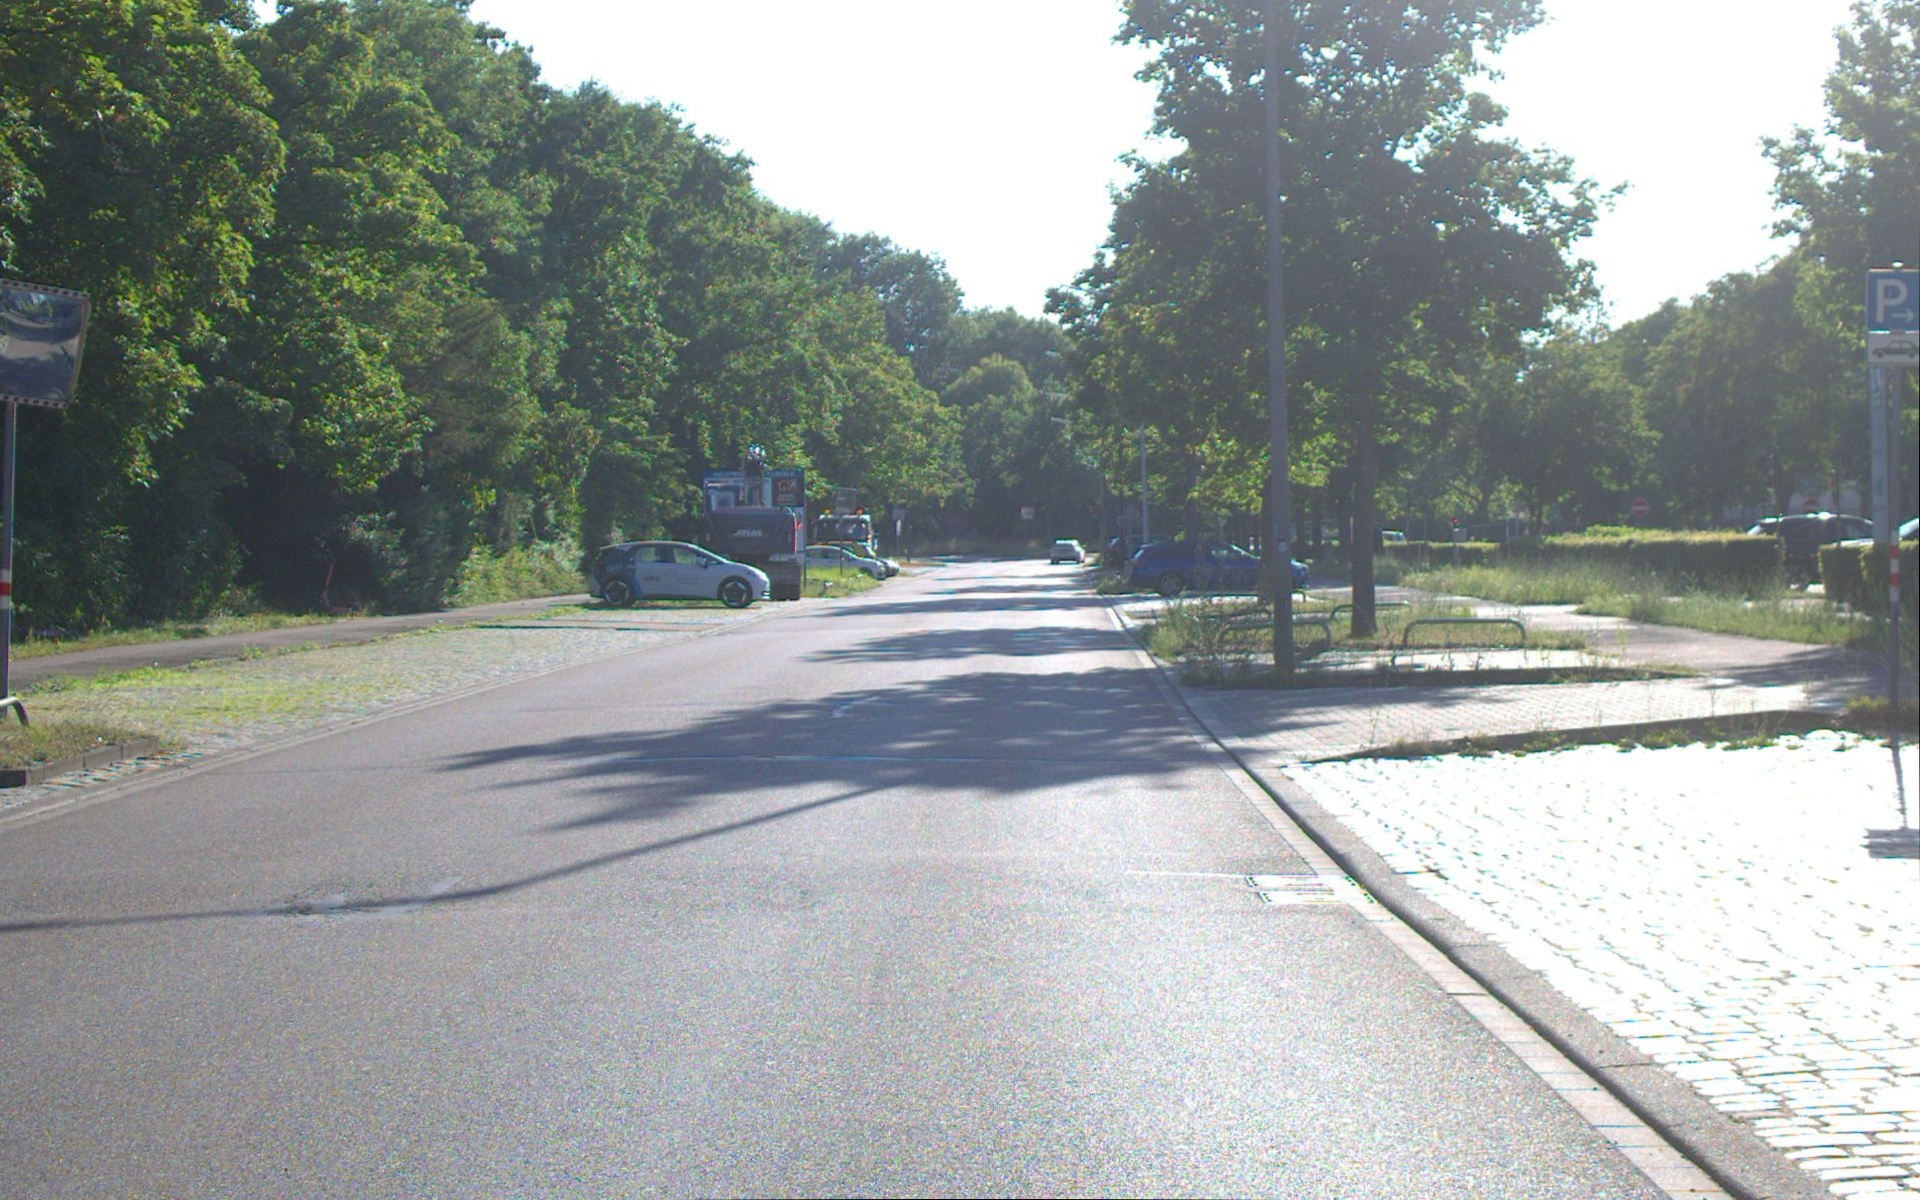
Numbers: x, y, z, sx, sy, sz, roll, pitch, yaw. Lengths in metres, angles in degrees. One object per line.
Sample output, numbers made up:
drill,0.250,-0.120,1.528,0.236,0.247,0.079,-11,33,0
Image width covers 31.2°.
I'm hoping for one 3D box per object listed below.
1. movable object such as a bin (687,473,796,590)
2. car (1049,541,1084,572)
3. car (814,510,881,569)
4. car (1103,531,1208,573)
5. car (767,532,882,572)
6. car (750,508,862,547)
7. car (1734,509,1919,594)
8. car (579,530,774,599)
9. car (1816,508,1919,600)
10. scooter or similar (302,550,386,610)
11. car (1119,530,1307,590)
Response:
movable object such as a bin,-5.899,-1.860,93.384,2.838,3.058,4.928,-1,1,-3
car,6.642,-2.713,215.174,1.993,1.897,4.000,-1,1,0
car,-4.718,-2.528,143.529,2.516,2.378,4.374,-1,1,-5
car,8.246,-2.049,145.516,4.358,1.723,2.000,-1,1,1
car,-5.296,-1.866,134.202,4.358,1.474,2.000,-1,1,-5
car,-6.150,-2.884,136.681,4.358,1.474,2.000,1,1,-5
car,18.700,-1.041,72.499,4.359,1.700,2.000,-1,2,3
car,-6.678,-0.846,81.314,4.359,1.542,2.000,-1,1,3
car,18.648,-0.898,64.932,4.429,1.700,2.059,-1,1,1
scooter or similar,-11.939,-0.395,66.672,0.577,1.141,1.581,0,1,42
car,6.620,-1.059,90.232,4.842,1.474,2.000,-1,1,3
